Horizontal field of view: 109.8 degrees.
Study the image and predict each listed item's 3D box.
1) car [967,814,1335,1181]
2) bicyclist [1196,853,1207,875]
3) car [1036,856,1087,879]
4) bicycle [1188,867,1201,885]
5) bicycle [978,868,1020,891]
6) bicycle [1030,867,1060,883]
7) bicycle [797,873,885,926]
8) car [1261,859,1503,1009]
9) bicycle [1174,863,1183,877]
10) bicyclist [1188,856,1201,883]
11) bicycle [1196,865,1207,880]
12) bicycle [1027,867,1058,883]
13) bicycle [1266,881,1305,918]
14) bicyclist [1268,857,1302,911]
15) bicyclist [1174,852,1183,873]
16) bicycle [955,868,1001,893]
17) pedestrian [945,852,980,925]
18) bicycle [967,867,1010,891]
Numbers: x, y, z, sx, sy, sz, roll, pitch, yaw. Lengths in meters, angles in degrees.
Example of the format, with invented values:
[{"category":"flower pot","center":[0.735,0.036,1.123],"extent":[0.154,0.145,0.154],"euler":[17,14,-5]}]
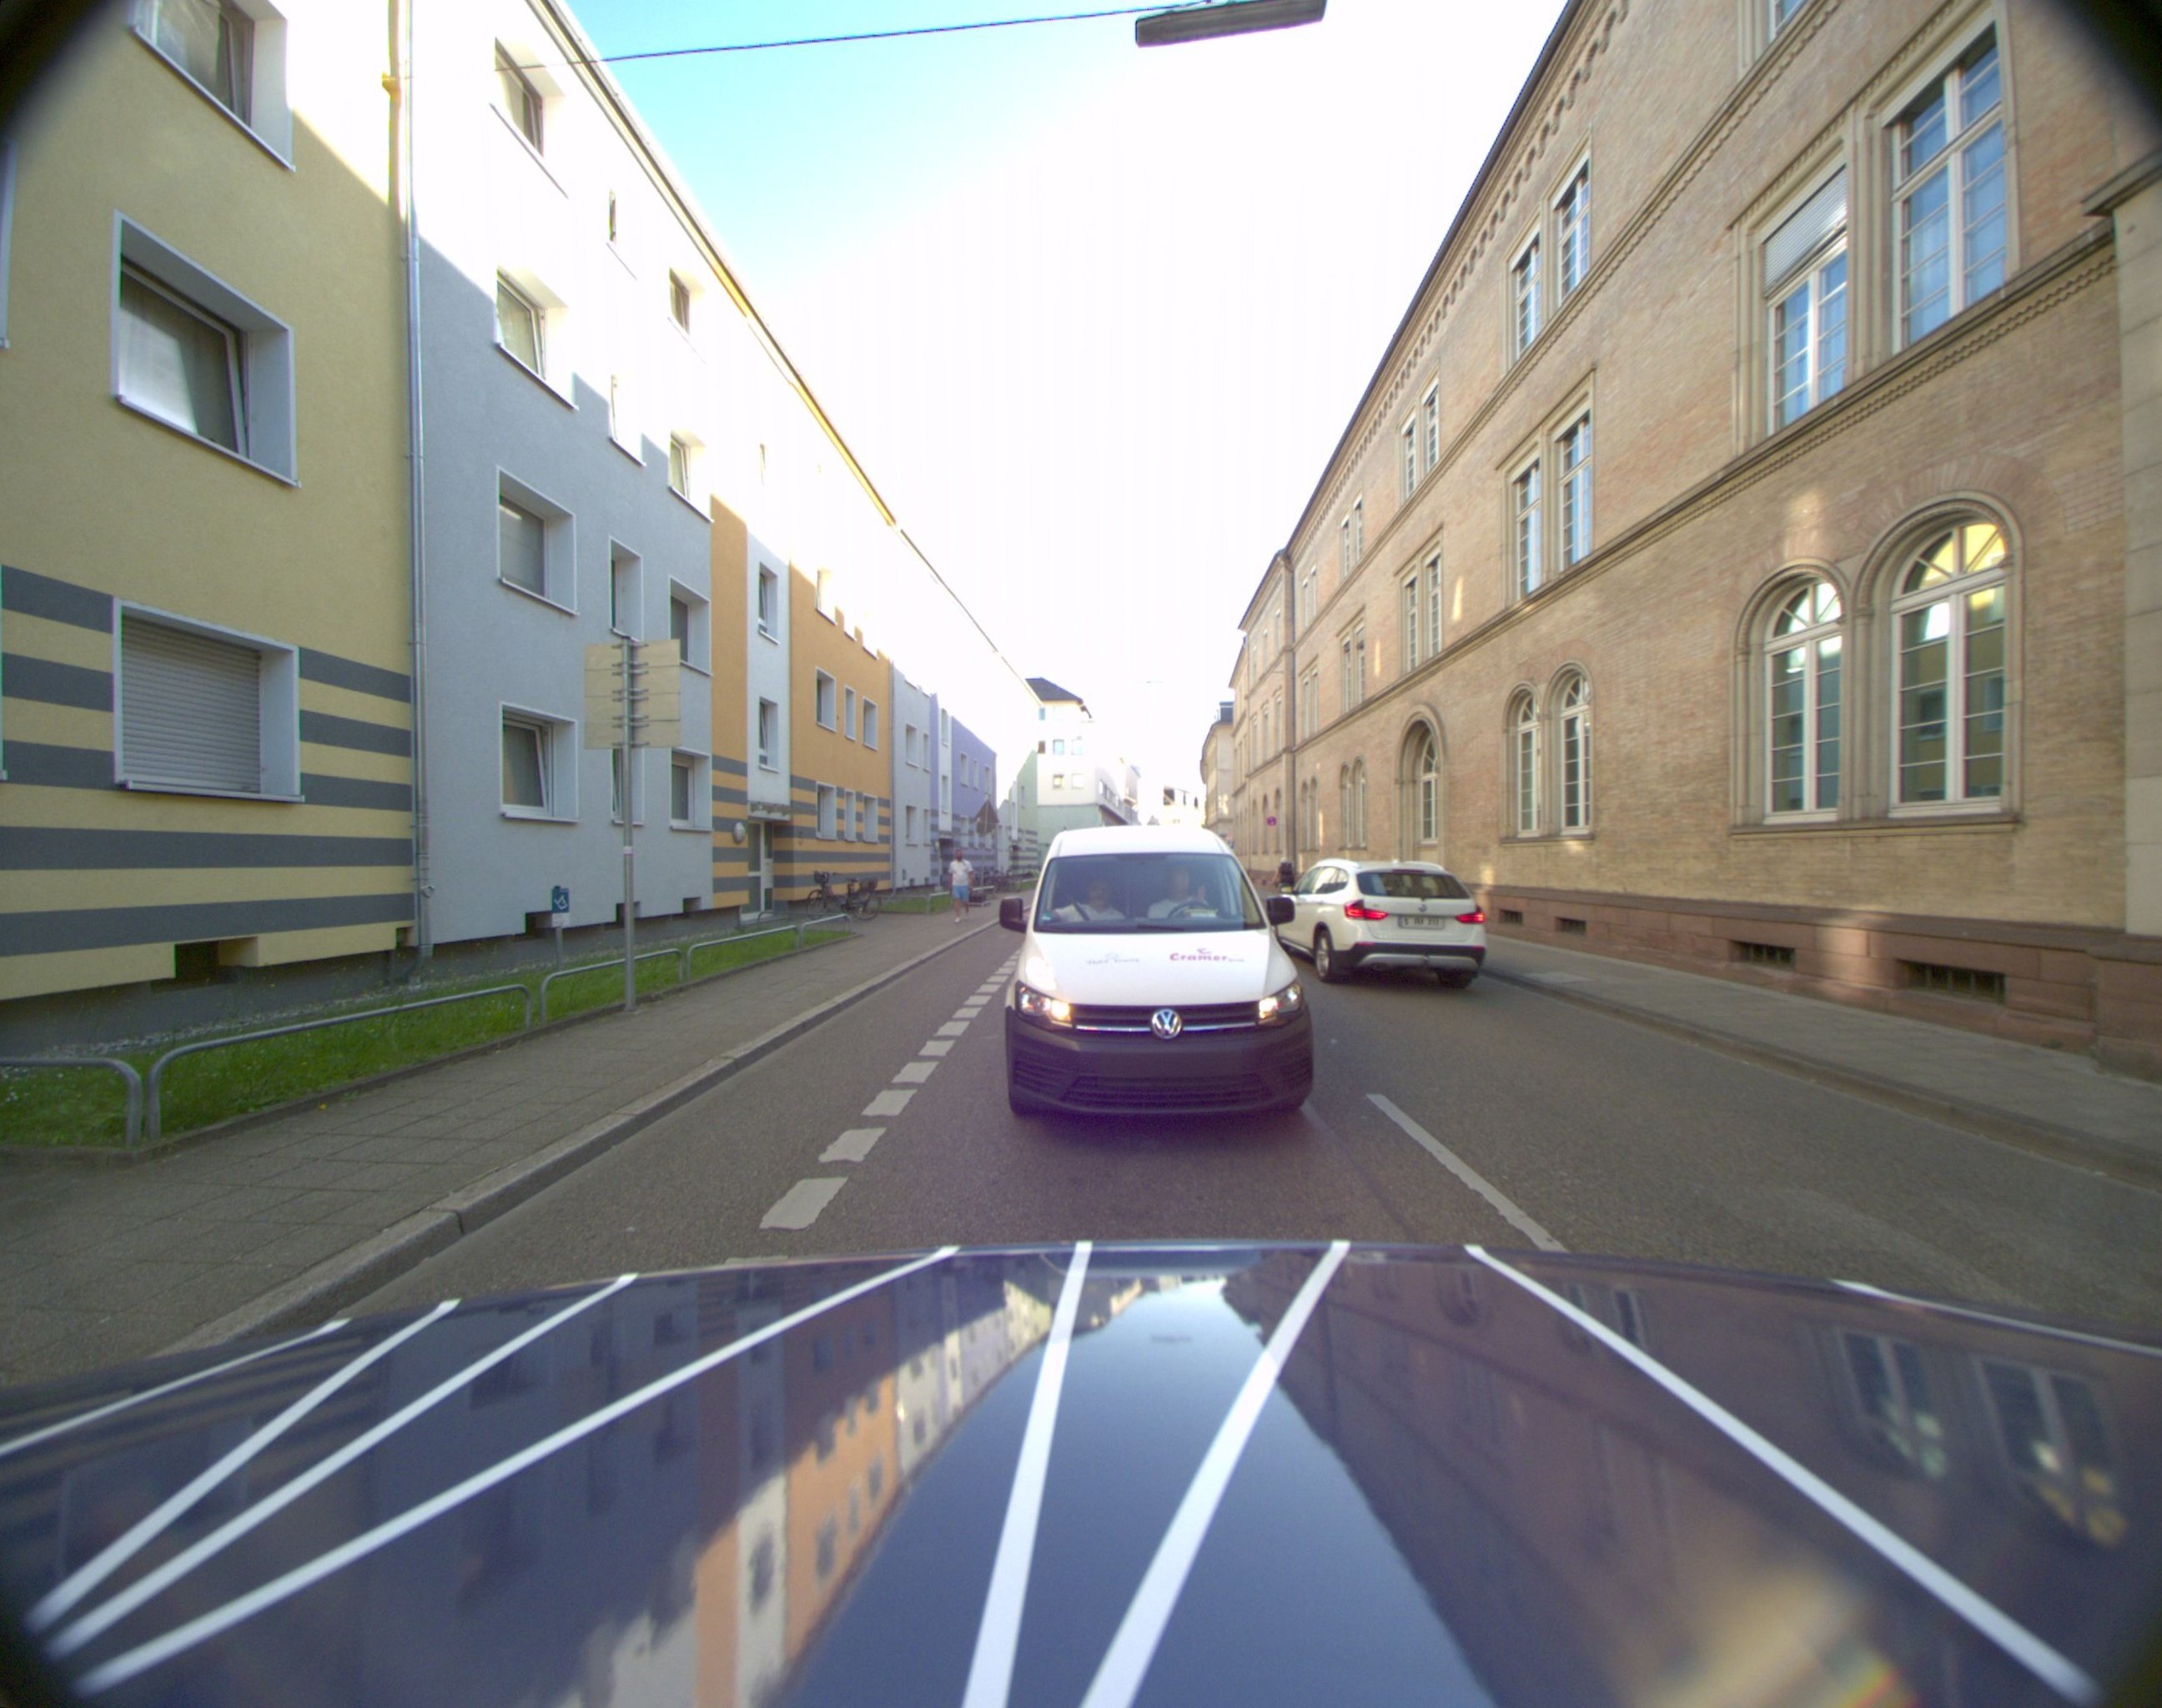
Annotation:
[{"category":"car","center":[0.383,0.723,6.457],"extent":[1.819,1.825,5.341],"euler":[0,0,1]},{"category":"bicyclist","center":[8.317,0.705,52.338],"extent":[0.651,1.500,1.112],"euler":[2,0,7]},{"category":"car","center":[-1.589,1.133,63.484],"extent":[3.995,1.681,1.901],"euler":[-2,1,5]},{"category":"bicycle","center":[6.794,1.285,45.515],"extent":[0.651,1.001,1.807],"euler":[2,0,7]},{"category":"bicycle","center":[-3.654,1.138,33.826],"extent":[1.775,0.934,0.584],"euler":[1,1,7]},{"category":"bicycle","center":[-2.230,1.308,47.618],"extent":[1.775,0.934,0.584],"euler":[1,1,7]},{"category":"bicycle","center":[-5.390,1.016,17.111],"extent":[1.776,1.118,0.583],"euler":[1,1,-1]},{"category":"car","center":[3.803,0.891,10.472],"extent":[1.689,1.573,4.275],"euler":[2,0,1]},{"category":"bicycle","center":[7.254,1.177,56.449],"extent":[0.546,1.001,1.758],"euler":[2,0,11]},{"category":"bicyclist","center":[6.795,0.910,45.504],"extent":[0.651,1.558,0.961],"euler":[2,0,7]},{"category":"bicycle","center":[8.305,1.276,52.362],"extent":[0.651,1.001,1.877],"euler":[2,0,7]},{"category":"bicycle","center":[-2.310,1.277,46.081],"extent":[1.775,0.934,0.584],"euler":[1,1,7]},{"category":"bicycle","center":[5.747,1.265,21.446],"extent":[0.687,0.919,1.767],"euler":[2,0,3]},{"category":"bicyclist","center":[5.740,0.832,21.426],"extent":[0.687,1.467,0.871],"euler":[2,0,3]},{"category":"bicyclist","center":[7.294,0.625,56.593],"extent":[0.546,1.524,0.870],"euler":[2,0,11]},{"category":"bicycle","center":[-4.321,1.111,31.867],"extent":[1.775,0.990,0.584],"euler":[1,1,7]},{"category":"pedestrian","center":[-2.771,0.799,17.833],"extent":[0.644,1.662,0.834],"euler":[1,0,3]},{"category":"bicycle","center":[-4.044,1.101,33.210],"extent":[1.775,0.990,0.584],"euler":[1,1,7]}]
